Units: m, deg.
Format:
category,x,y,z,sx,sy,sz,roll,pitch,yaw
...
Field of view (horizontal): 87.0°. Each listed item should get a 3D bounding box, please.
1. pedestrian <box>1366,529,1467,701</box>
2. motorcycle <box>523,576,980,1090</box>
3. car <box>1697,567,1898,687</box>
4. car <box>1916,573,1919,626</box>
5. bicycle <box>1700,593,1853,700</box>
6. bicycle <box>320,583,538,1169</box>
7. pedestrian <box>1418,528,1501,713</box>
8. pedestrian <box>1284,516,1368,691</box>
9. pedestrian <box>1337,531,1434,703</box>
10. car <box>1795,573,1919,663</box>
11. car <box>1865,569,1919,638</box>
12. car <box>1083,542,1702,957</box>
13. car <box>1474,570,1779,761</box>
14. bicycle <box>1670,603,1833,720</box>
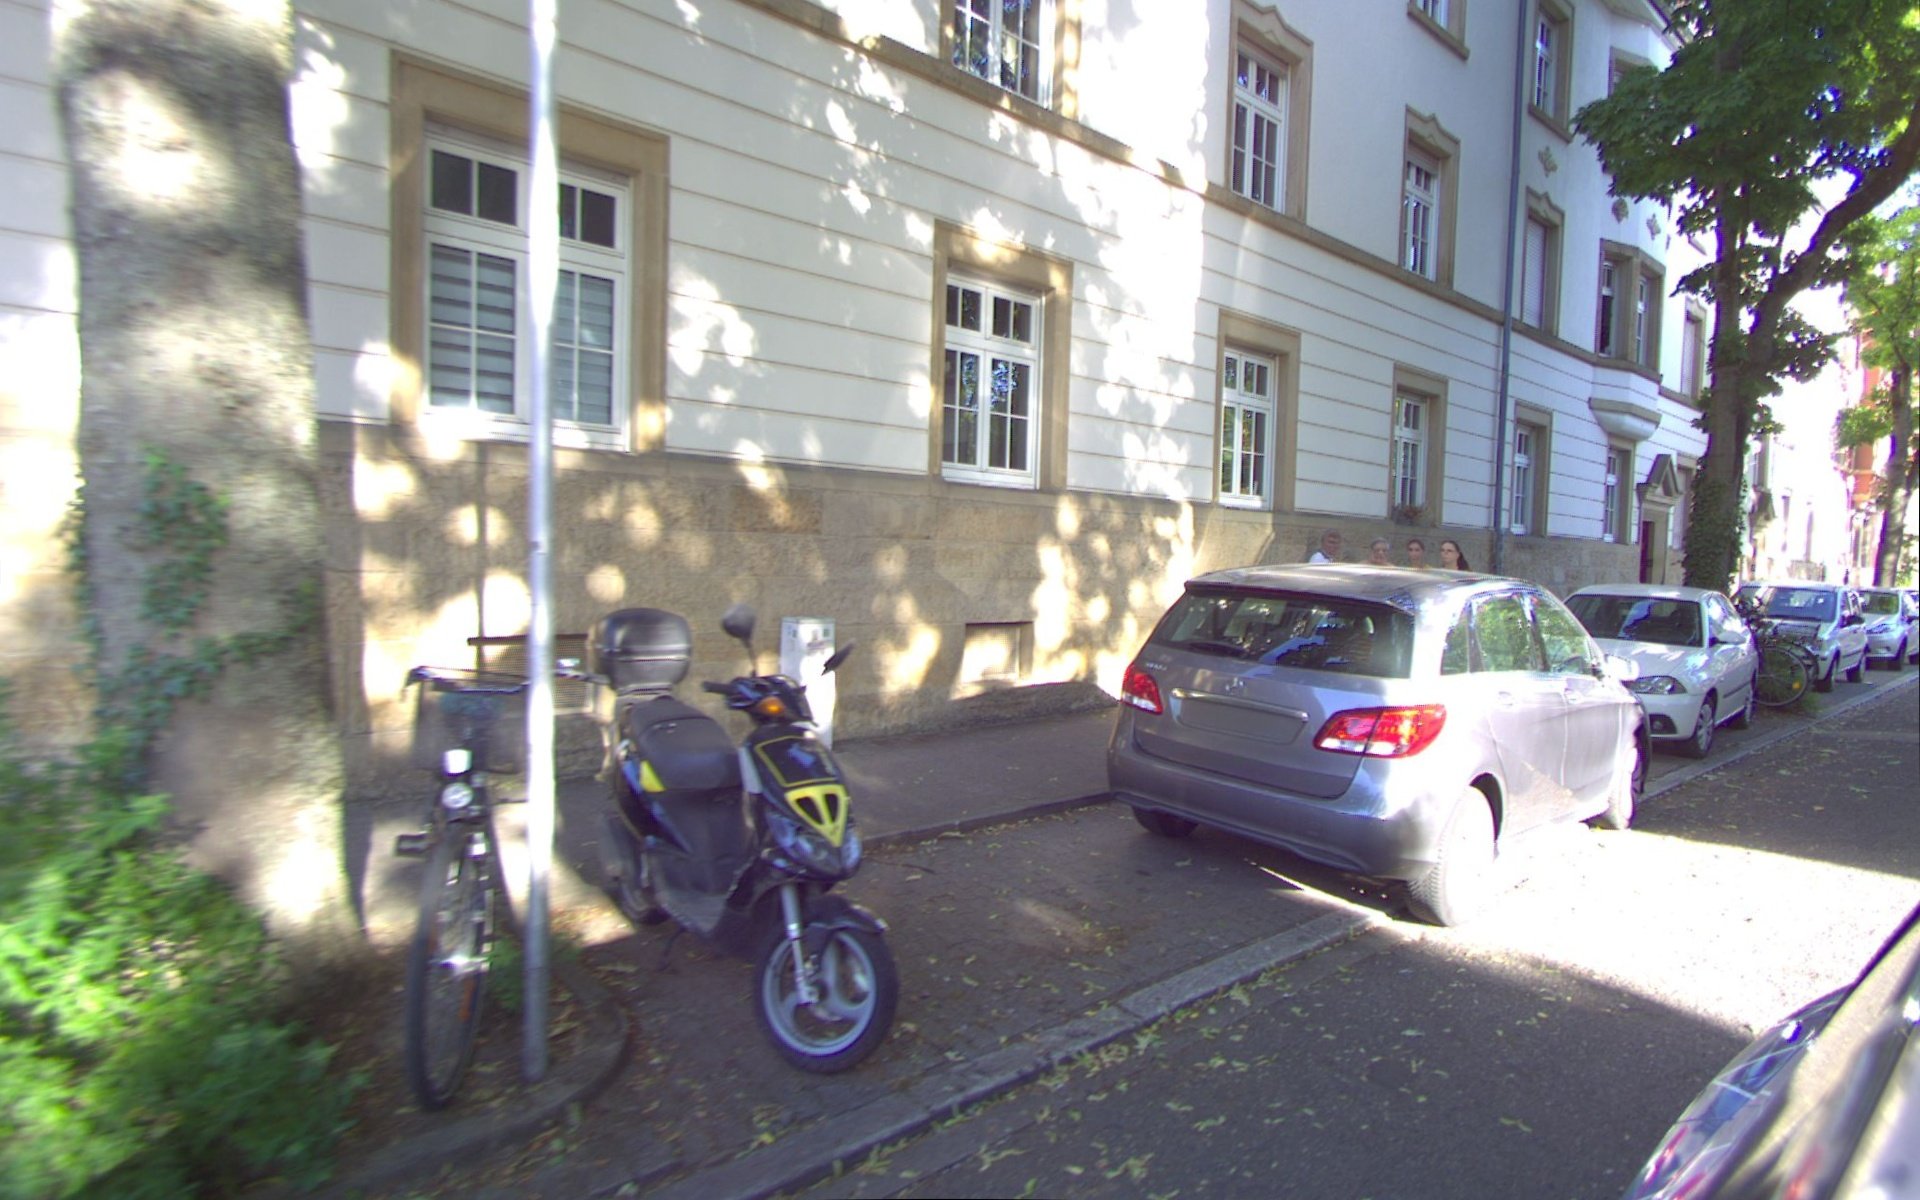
category,x,y,z,sx,sy,sz,roll,pitch,yaw
pedestrian,4.768,0.132,10.561,0.804,1.705,0.624,0,3,-41
motorcycle,-0.850,0.614,3.590,0.667,1.227,1.853,1,5,-43
car,12.766,0.323,15.354,3.929,1.551,1.639,-1,3,-40
car,28.315,0.012,28.312,3.929,1.437,1.812,-1,3,-40
bicycle,10.241,0.547,12.734,0.330,1.209,1.413,0,3,-42
bicycle,-1.560,0.598,3.108,0.424,1.175,1.803,1,4,-24
pedestrian,4.870,0.176,9.870,0.508,1.739,0.519,0,3,-42
pedestrian,4.053,0.020,11.194,0.694,1.867,0.529,0,3,-39
pedestrian,4.860,0.169,11.555,0.705,1.867,0.827,4,3,44
car,17.156,0.267,18.946,3.929,1.459,1.651,-1,3,-40
car,23.496,0.085,24.484,3.929,1.548,1.824,-1,3,-40
car,2.729,0.533,5.901,4.063,1.558,1.684,-1,5,-42
car,6.627,0.471,9.896,1.725,1.424,3.794,5,4,44
bicycle,9.206,0.681,11.813,0.330,1.209,1.413,0,3,-42
